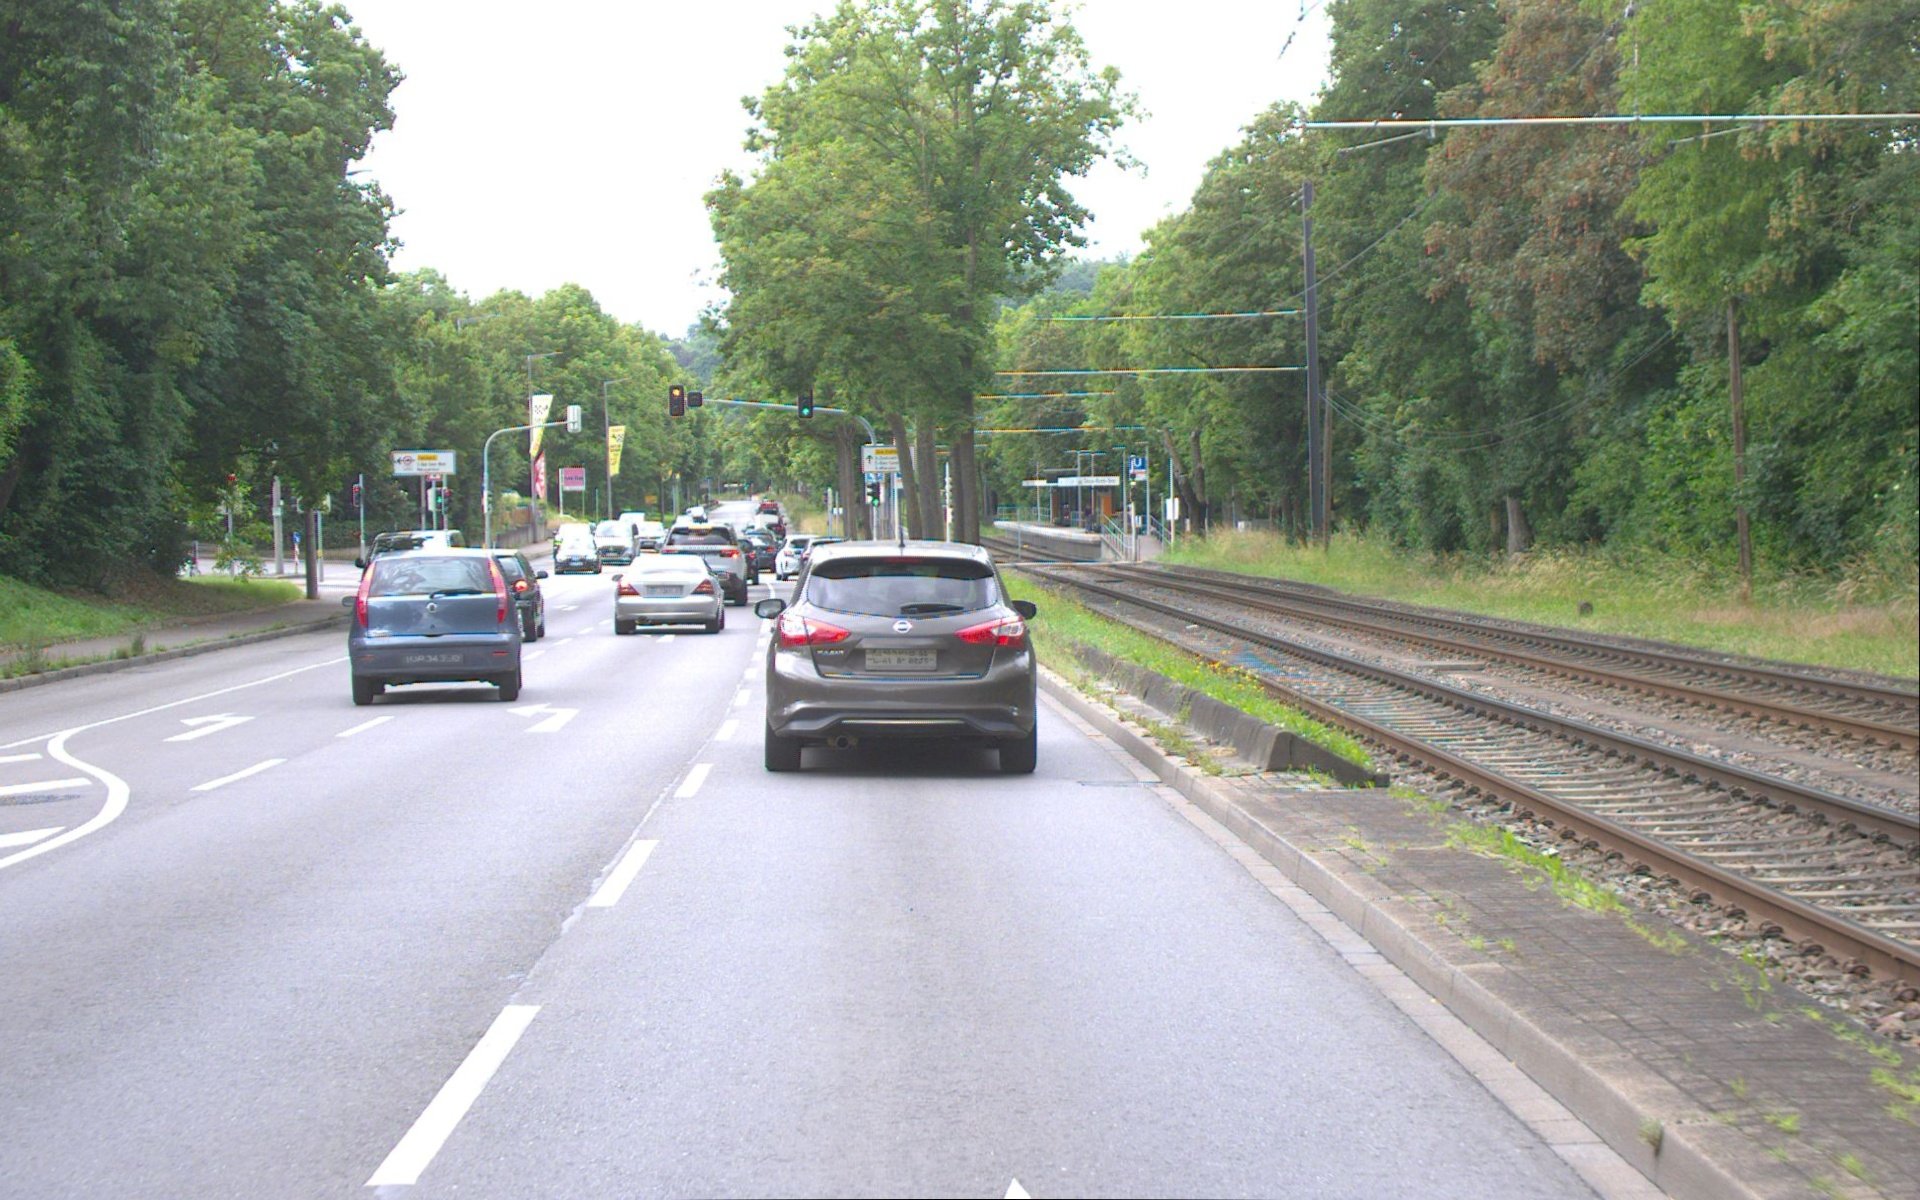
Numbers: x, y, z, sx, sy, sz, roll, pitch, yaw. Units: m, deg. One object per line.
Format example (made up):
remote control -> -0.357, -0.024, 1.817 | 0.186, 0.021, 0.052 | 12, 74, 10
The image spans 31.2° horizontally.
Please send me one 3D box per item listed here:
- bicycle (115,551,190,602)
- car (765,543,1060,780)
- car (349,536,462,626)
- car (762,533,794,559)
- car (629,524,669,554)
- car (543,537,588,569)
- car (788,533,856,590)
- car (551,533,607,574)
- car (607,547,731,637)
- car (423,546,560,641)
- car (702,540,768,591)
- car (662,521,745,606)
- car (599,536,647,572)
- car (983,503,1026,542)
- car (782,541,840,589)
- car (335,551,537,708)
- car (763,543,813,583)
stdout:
bicycle -> -17.833, -0.529, 75.914 | 0.499, 1.104, 1.797 | 0, 1, 31
car -> -0.292, 0.366, 23.592 | 1.850, 1.488, 4.000 | 0, 1, 0
car -> -11.098, -0.387, 69.026 | 1.715, 1.754, 4.000 | 0, 0, -2
car -> -11.098, -3.312, 209.712 | 1.715, 1.545, 4.000 | 0, 0, 0
car -> -16.518, -3.213, 182.697 | 1.715, 1.545, 4.000 | 0, 0, 0
car -> -19.406, -2.303, 169.286 | 1.715, 1.545, 4.000 | 0, 0, 0
car -> -3.779, -1.058, 94.701 | 1.715, 1.545, 4.000 | 0, 0, 0
car -> -14.703, -1.793, 132.709 | 1.715, 1.545, 4.000 | 0, 0, 0
car -> -4.793, -0.148, 57.045 | 1.715, 1.430, 4.000 | 0, 0, 0
car -> -7.336, -0.121, 54.130 | 1.715, 1.430, 4.000 | 0, 0, -2
car -> -6.840, -1.072, 104.640 | 1.794, 1.505, 4.000 | 0, 1, -1
car -> -5.752, -0.822, 77.429 | 1.715, 1.857, 4.000 | 0, 0, -2
car -> -14.841, -2.028, 151.711 | 1.715, 1.545, 4.000 | 0, 0, 0
car -> 1.949, -3.372, 150.568 | 1.715, 1.657, 3.708 | 0, 0, -2
car -> -4.835, -1.143, 111.985 | 1.715, 1.545, 4.000 | 0, 0, 0
car -> -5.151, 0.249, 34.177 | 1.699, 1.438, 4.001 | 0, 1, -5
car -> -6.648, -1.431, 133.173 | 1.715, 1.545, 4.000 | 0, 0, 0
